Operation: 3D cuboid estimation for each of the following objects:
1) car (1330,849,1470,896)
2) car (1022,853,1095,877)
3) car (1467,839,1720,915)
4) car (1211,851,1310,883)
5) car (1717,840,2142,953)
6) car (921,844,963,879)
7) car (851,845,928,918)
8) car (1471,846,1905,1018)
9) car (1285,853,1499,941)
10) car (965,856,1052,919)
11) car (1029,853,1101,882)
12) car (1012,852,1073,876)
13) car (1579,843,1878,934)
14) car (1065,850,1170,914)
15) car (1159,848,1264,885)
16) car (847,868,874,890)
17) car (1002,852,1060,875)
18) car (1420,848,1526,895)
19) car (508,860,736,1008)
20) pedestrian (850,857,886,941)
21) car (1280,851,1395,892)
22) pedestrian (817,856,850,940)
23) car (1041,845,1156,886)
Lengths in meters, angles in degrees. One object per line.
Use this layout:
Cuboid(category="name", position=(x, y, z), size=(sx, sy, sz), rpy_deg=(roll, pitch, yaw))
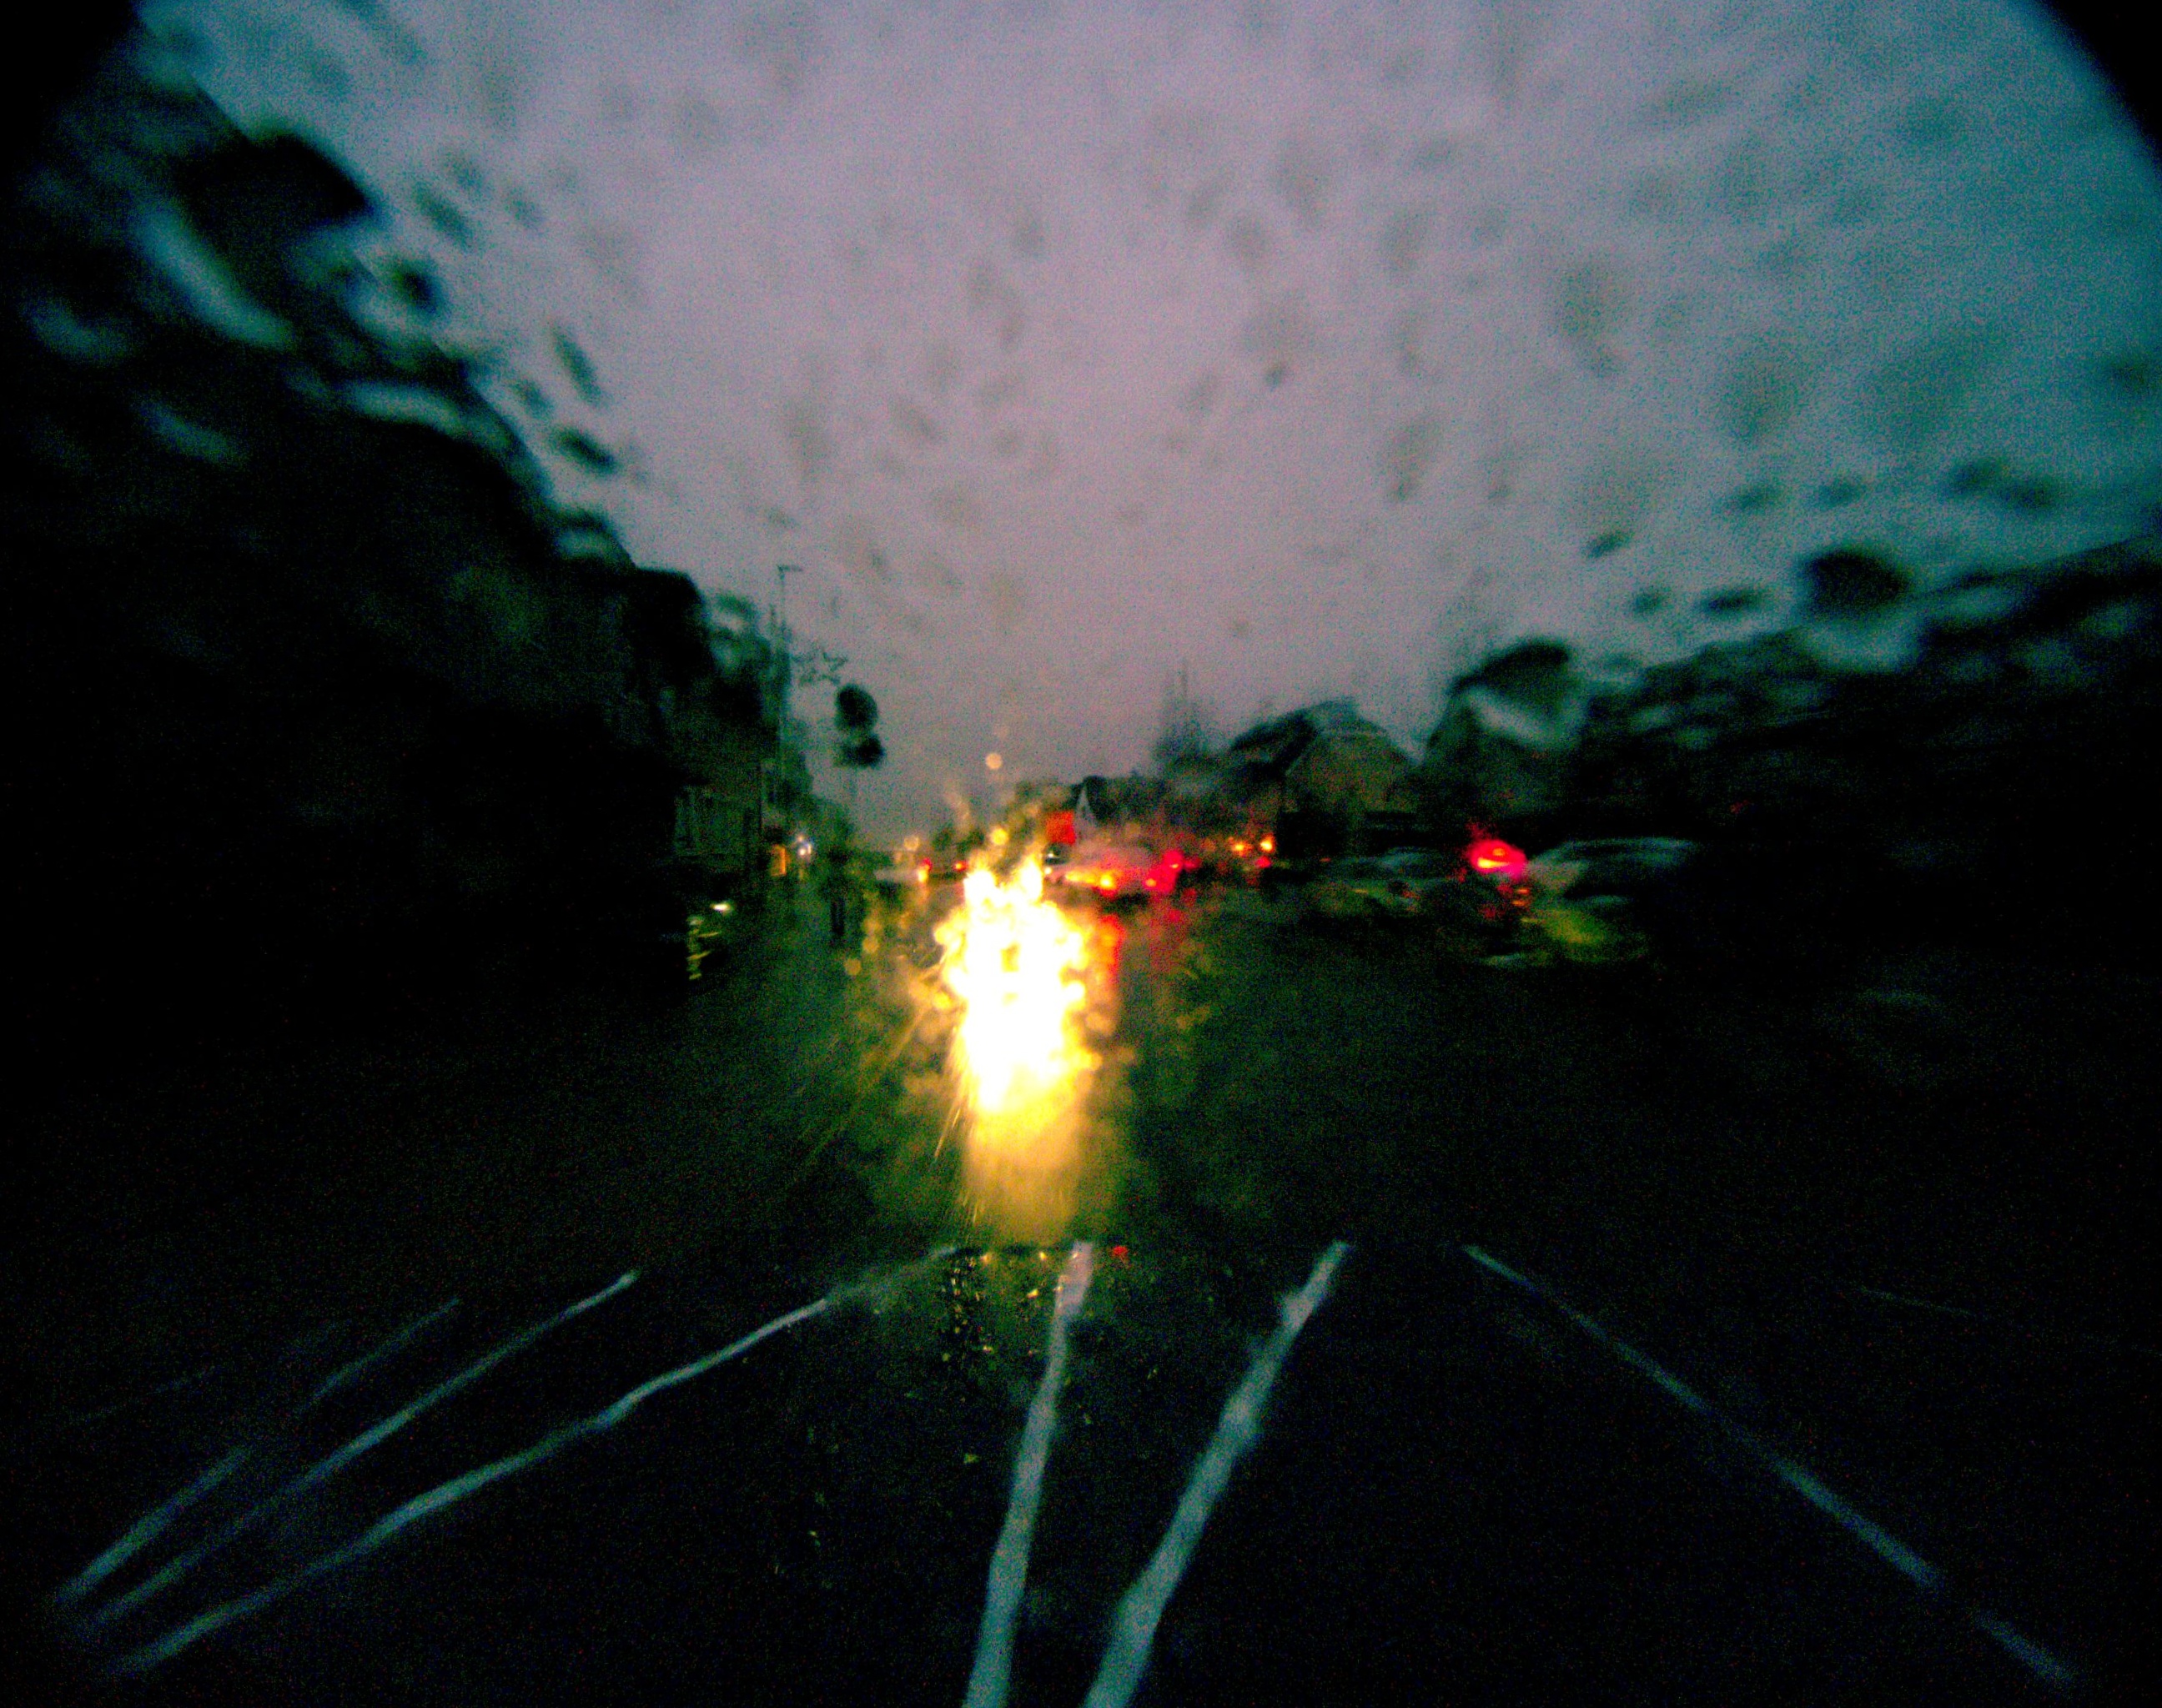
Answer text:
Cuboid(category="car", position=(10.431, 0.595, 25.140), size=(4.066, 1.451, 1.759), rpy_deg=(0, 1, 15))
Cuboid(category="car", position=(-1.635, 0.777, 55.026), size=(4.885, 1.673, 1.997), rpy_deg=(0, -1, -17))
Cuboid(category="car", position=(11.929, 0.495, 18.107), size=(4.645, 1.644, 1.990), rpy_deg=(0, 1, 20))
Cuboid(category="car", position=(9.672, 0.712, 41.041), size=(4.770, 1.626, 1.999), rpy_deg=(1, -1, -9))
Cuboid(category="car", position=(12.884, 0.605, 11.966), size=(3.990, 1.521, 2.003), rpy_deg=(-1, 0, 24))
Cuboid(category="car", position=(-10.543, 0.582, 57.107), size=(2.204, 2.476, 6.133), rpy_deg=(-1, 0, -19))
Cuboid(category="car", position=(-5.653, 0.760, 22.843), size=(1.980, 1.948, 4.847), rpy_deg=(0, 0, -12))
Cuboid(category="car", position=(6.615, 0.710, 8.876), size=(1.839, 1.527, 3.672), rpy_deg=(-1, 0, -9))
Cuboid(category="car", position=(6.196, 0.777, 15.761), size=(1.912, 1.524, 4.250), rpy_deg=(-1, 0, -15))
Cuboid(category="car", position=(-2.295, 0.889, 22.721), size=(2.272, 1.633, 5.061), rpy_deg=(-1, 0, -9))
Cuboid(category="car", position=(-1.013, 0.810, 46.726), size=(4.003, 1.674, 1.997), rpy_deg=(0, 0, -19))
Cuboid(category="car", position=(-3.051, 0.759, 60.313), size=(4.521, 1.855, 1.865), rpy_deg=(0, 0, -19))
Cuboid(category="car", position=(12.411, 0.594, 14.913), size=(4.104, 1.573, 1.723), rpy_deg=(1, 1, 20))
Cuboid(category="car", position=(0.970, 0.772, 23.407), size=(1.953, 1.740, 4.845), rpy_deg=(1, 0, -13))
Cuboid(category="car", position=(6.169, 0.563, 36.087), size=(4.452, 1.623, 2.152), rpy_deg=(-1, 1, -18))
Cuboid(category="car", position=(-18.981, 2.074, 65.307), size=(2.002, 1.774, 4.512), rpy_deg=(0, 0, -19))
Cuboid(category="car", position=(-4.163, 0.765, 62.798), size=(4.432, 1.790, 1.842), rpy_deg=(0, 0, -19))
Cuboid(category="car", position=(15.627, 0.648, 30.556), size=(1.721, 1.718, 3.996), rpy_deg=(-2, 1, -9))
Cuboid(category="car", position=(-5.749, 0.867, 10.016), size=(1.741, 1.552, 3.658), rpy_deg=(0, 0, -17))
Cuboid(category="pedestrian", position=(-4.440, 0.908, 15.829), size=(0.716, 1.689, 0.803), rpy_deg=(0, 0, -16))
Cuboid(category="car", position=(9.482, 0.645, 28.329), size=(3.925, 1.450, 1.765), rpy_deg=(0, -1, 16))
Cuboid(category="pedestrian", position=(-5.071, 0.876, 15.589), size=(0.581, 1.659, 0.790), rpy_deg=(0, 0, -14))
Cuboid(category="car", position=(0.868, 0.604, 39.800), size=(5.777, 1.934, 1.990), rpy_deg=(-2, 0, -5))
